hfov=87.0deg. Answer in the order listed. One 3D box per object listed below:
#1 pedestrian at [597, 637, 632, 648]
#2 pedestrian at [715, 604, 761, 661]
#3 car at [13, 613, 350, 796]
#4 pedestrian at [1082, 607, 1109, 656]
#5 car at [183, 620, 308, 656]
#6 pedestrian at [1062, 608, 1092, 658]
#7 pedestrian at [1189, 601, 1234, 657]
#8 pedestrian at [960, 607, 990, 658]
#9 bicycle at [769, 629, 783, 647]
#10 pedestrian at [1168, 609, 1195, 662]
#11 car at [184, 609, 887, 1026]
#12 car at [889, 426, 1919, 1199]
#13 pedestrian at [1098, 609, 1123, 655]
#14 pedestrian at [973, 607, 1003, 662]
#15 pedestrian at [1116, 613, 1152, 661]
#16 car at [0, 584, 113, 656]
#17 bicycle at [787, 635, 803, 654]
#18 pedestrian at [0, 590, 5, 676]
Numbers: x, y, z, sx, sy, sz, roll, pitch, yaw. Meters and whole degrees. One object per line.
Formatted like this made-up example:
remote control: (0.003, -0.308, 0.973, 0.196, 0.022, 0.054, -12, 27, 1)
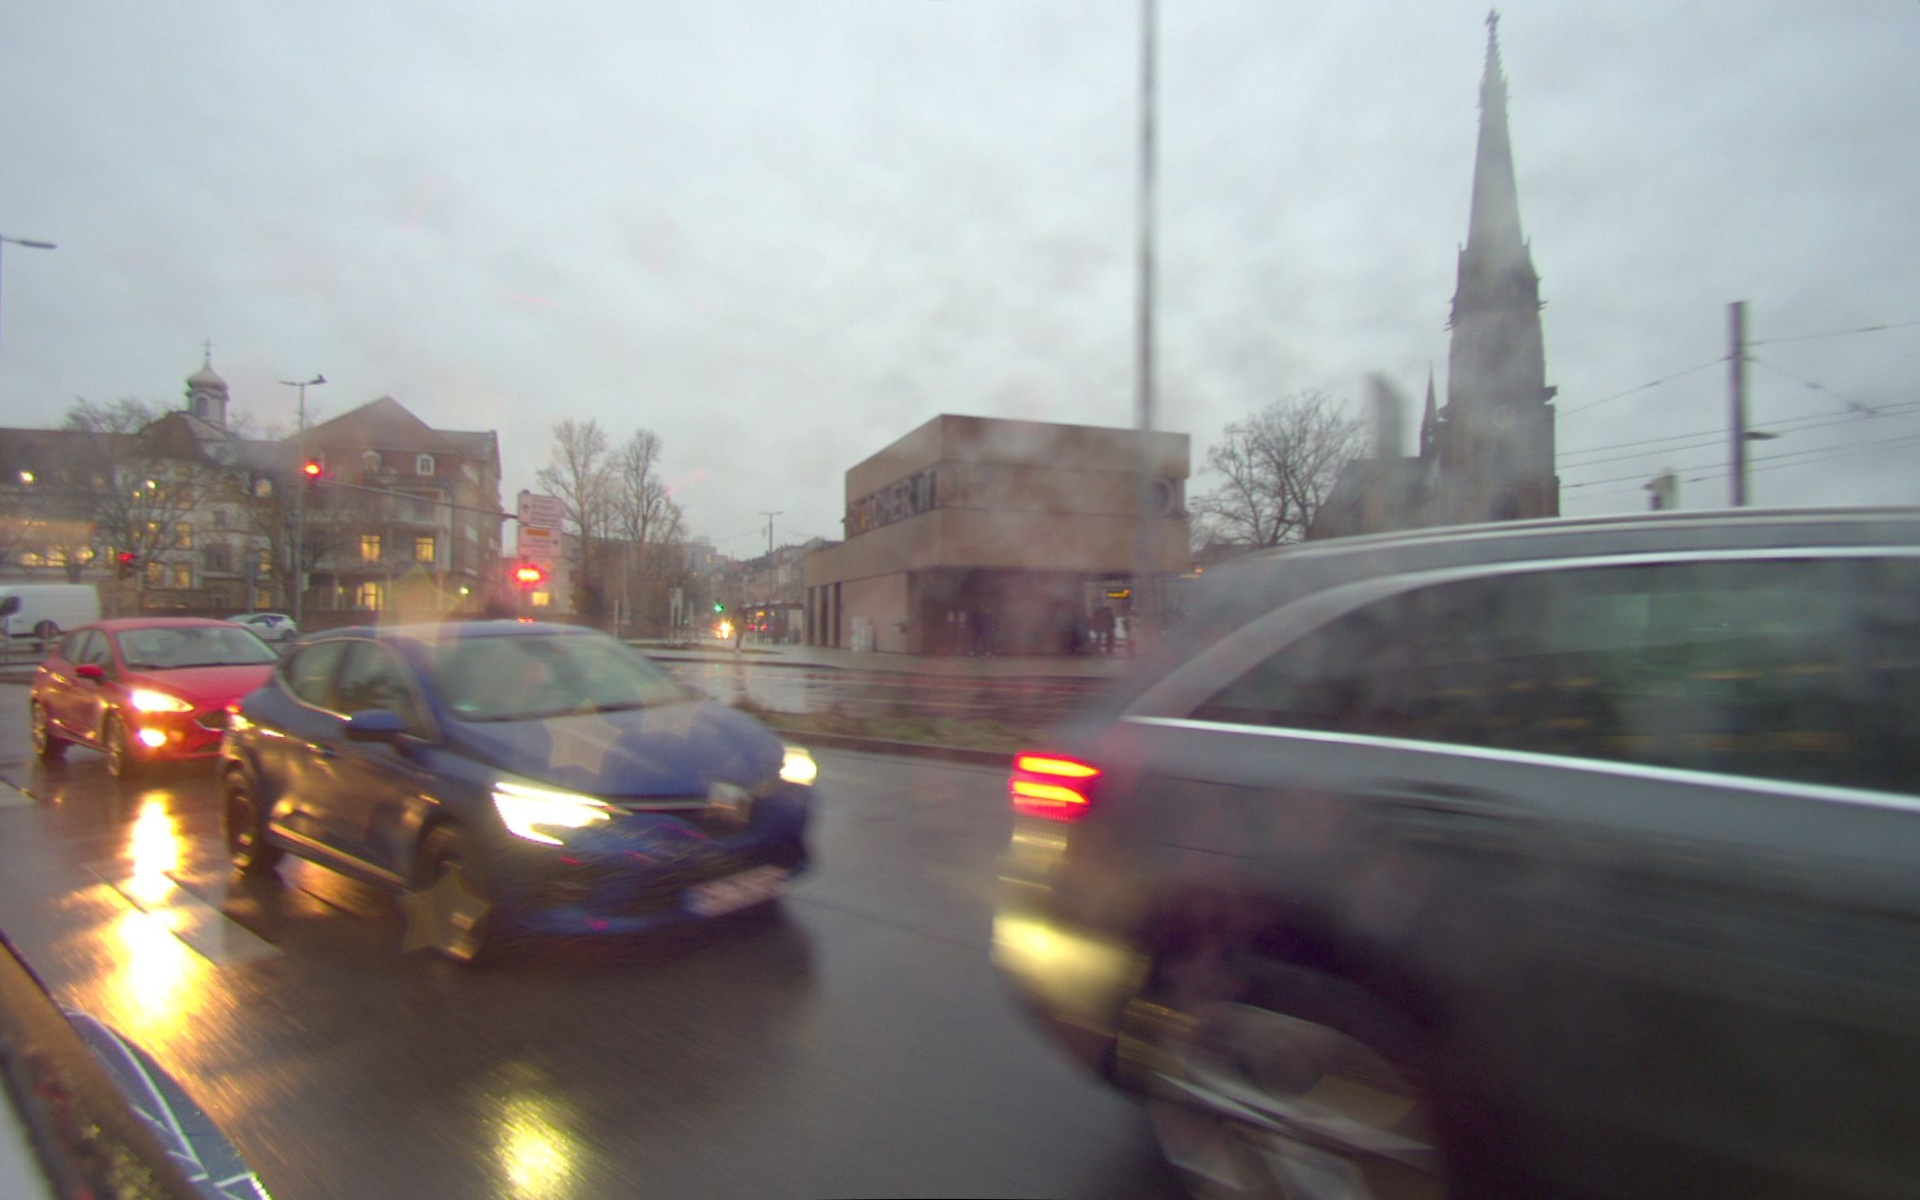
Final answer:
pedestrian: (-32.650, 4.021, 95.655, 3.047, 0.937, 0.951, -1, -3, -15)
pedestrian: (-7.587, 1.119, 34.601, 1.026, 1.872, 1.228, -3, -3, 17)
car: (-8.080, 0.927, 10.410, 3.864, 1.493, 1.686, -1, 1, 36)
pedestrian: (4.922, 1.155, 36.702, 0.741, 1.739, 0.734, -1, -3, 32)
car: (-34.080, 1.800, 48.463, 1.822, 1.656, 4.792, 0, -2, 16)
pedestrian: (4.131, 1.184, 35.784, 0.731, 1.739, 0.745, 2, -3, -42)
pedestrian: (8.799, 1.027, 35.428, 1.104, 1.933, 1.066, 1, -2, -17)
pedestrian: (0.517, 1.113, 34.768, 0.731, 1.739, 0.745, 2, -3, -42)
bicycle: (-12.753, 2.642, 70.095, 0.636, 1.113, 2.758, -1, -3, -16)
pedestrian: (7.498, 1.182, 34.186, 0.757, 1.764, 0.795, -1, -2, 23)
car: (-2.484, 0.788, 5.432, 4.113, 1.414, 1.643, -1, 0, 37)
car: (2.117, 0.541, 1.916, 4.538, 1.613, 1.767, -1, 1, 40)
pedestrian: (5.785, 1.228, 38.936, 0.741, 1.739, 0.734, -1, -3, 32)
pedestrian: (0.924, 1.133, 33.407, 0.828, 1.781, 0.657, -1, -2, 24)
pedestrian: (5.931, 1.266, 34.571, 0.841, 1.615, 0.968, 1, -2, -20)
car: (-35.464, 0.788, 37.907, 2.319, 2.537, 5.857, -2, -2, 5)
bicycle: (-10.318, 2.805, 63.141, 0.636, 1.113, 2.758, -1, -3, -16)
pedestrian: (-23.353, 0.800, 23.973, 1.107, 2.021, 0.838, -4, -3, 35)
